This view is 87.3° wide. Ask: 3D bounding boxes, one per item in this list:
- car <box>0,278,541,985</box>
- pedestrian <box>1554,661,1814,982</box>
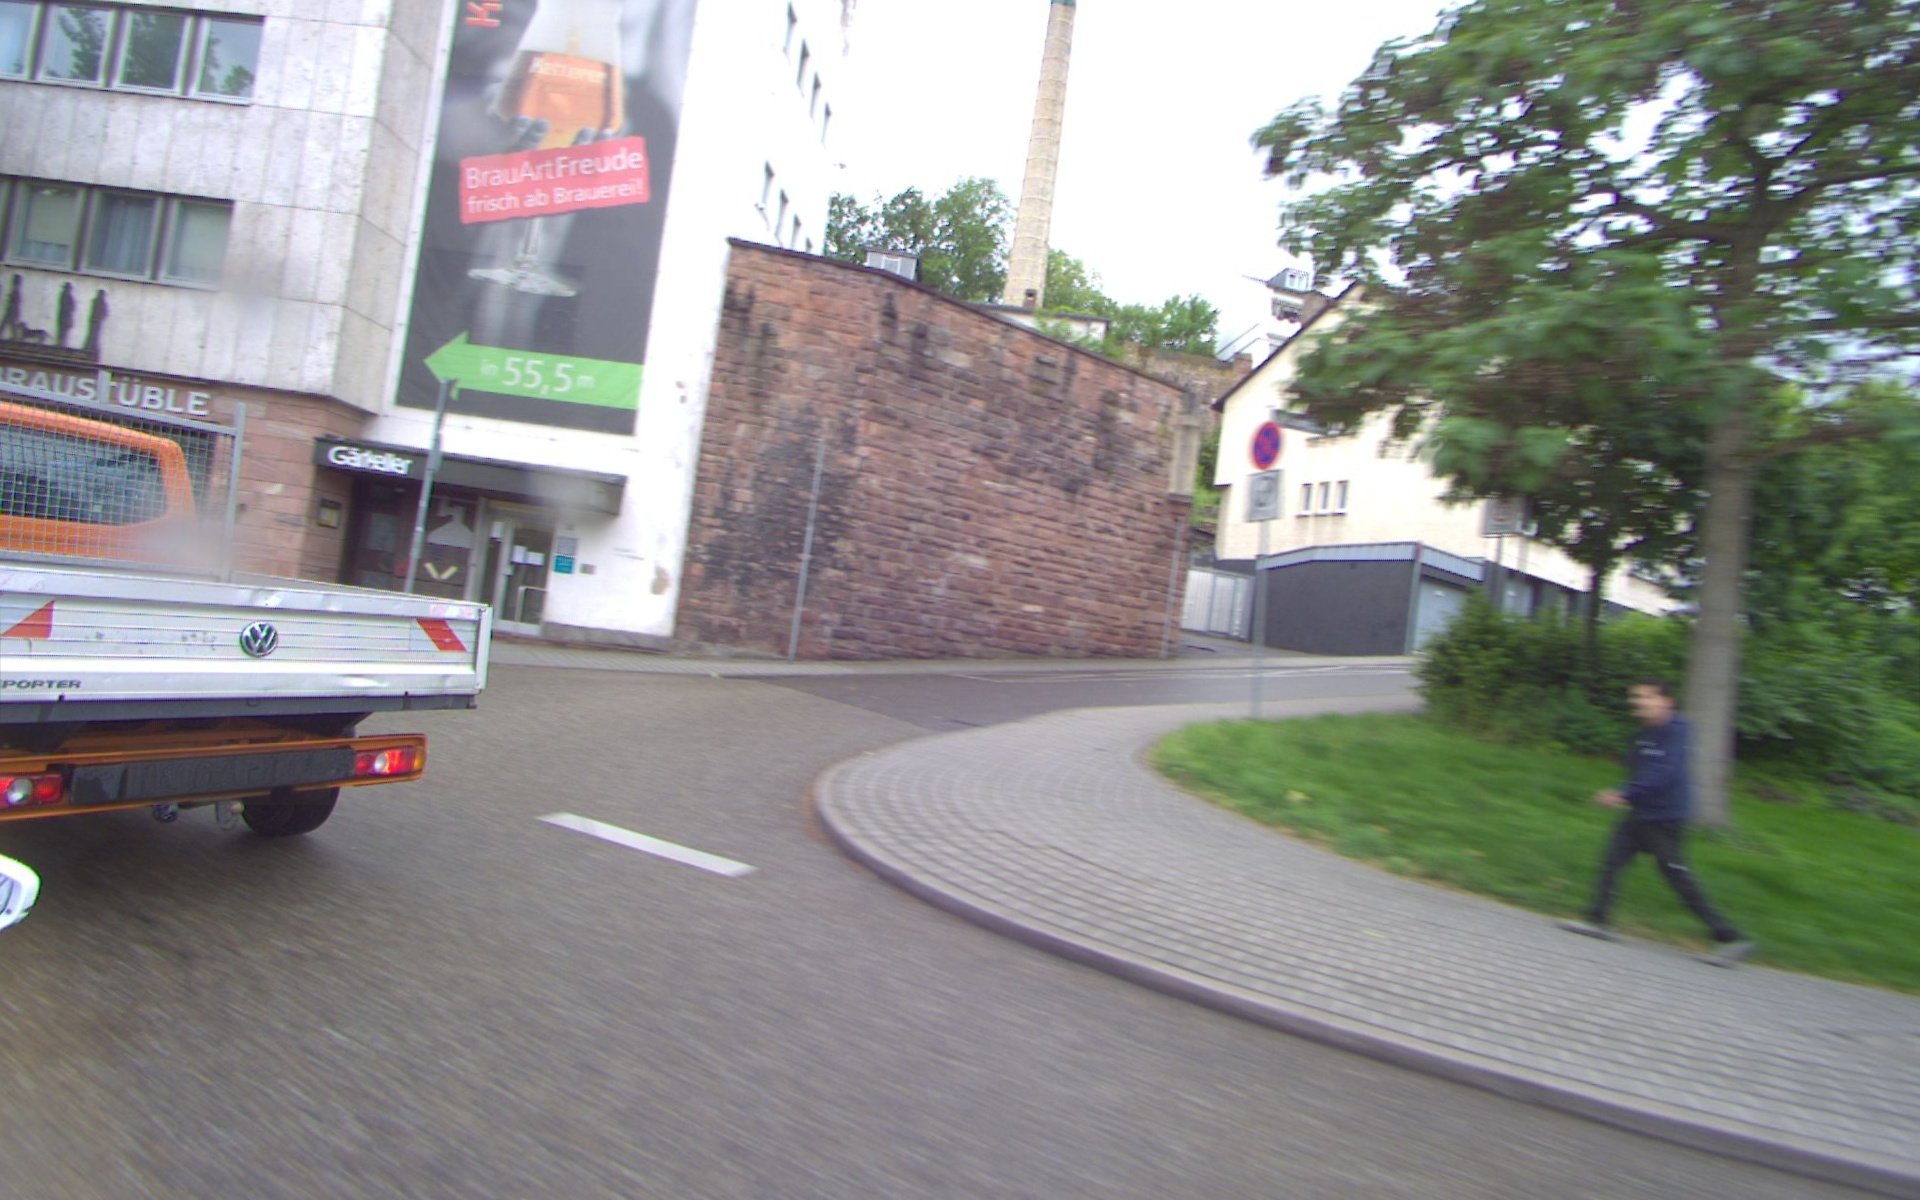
[{"bbox_3d":[-4.914,-0.096,4.951,5.444,2.115,2.106,7,0,27],"label":"car"},{"bbox_3d":[4.429,1.313,6.239,0.946,1.708,0.572,10,3,20],"label":"pedestrian"}]
